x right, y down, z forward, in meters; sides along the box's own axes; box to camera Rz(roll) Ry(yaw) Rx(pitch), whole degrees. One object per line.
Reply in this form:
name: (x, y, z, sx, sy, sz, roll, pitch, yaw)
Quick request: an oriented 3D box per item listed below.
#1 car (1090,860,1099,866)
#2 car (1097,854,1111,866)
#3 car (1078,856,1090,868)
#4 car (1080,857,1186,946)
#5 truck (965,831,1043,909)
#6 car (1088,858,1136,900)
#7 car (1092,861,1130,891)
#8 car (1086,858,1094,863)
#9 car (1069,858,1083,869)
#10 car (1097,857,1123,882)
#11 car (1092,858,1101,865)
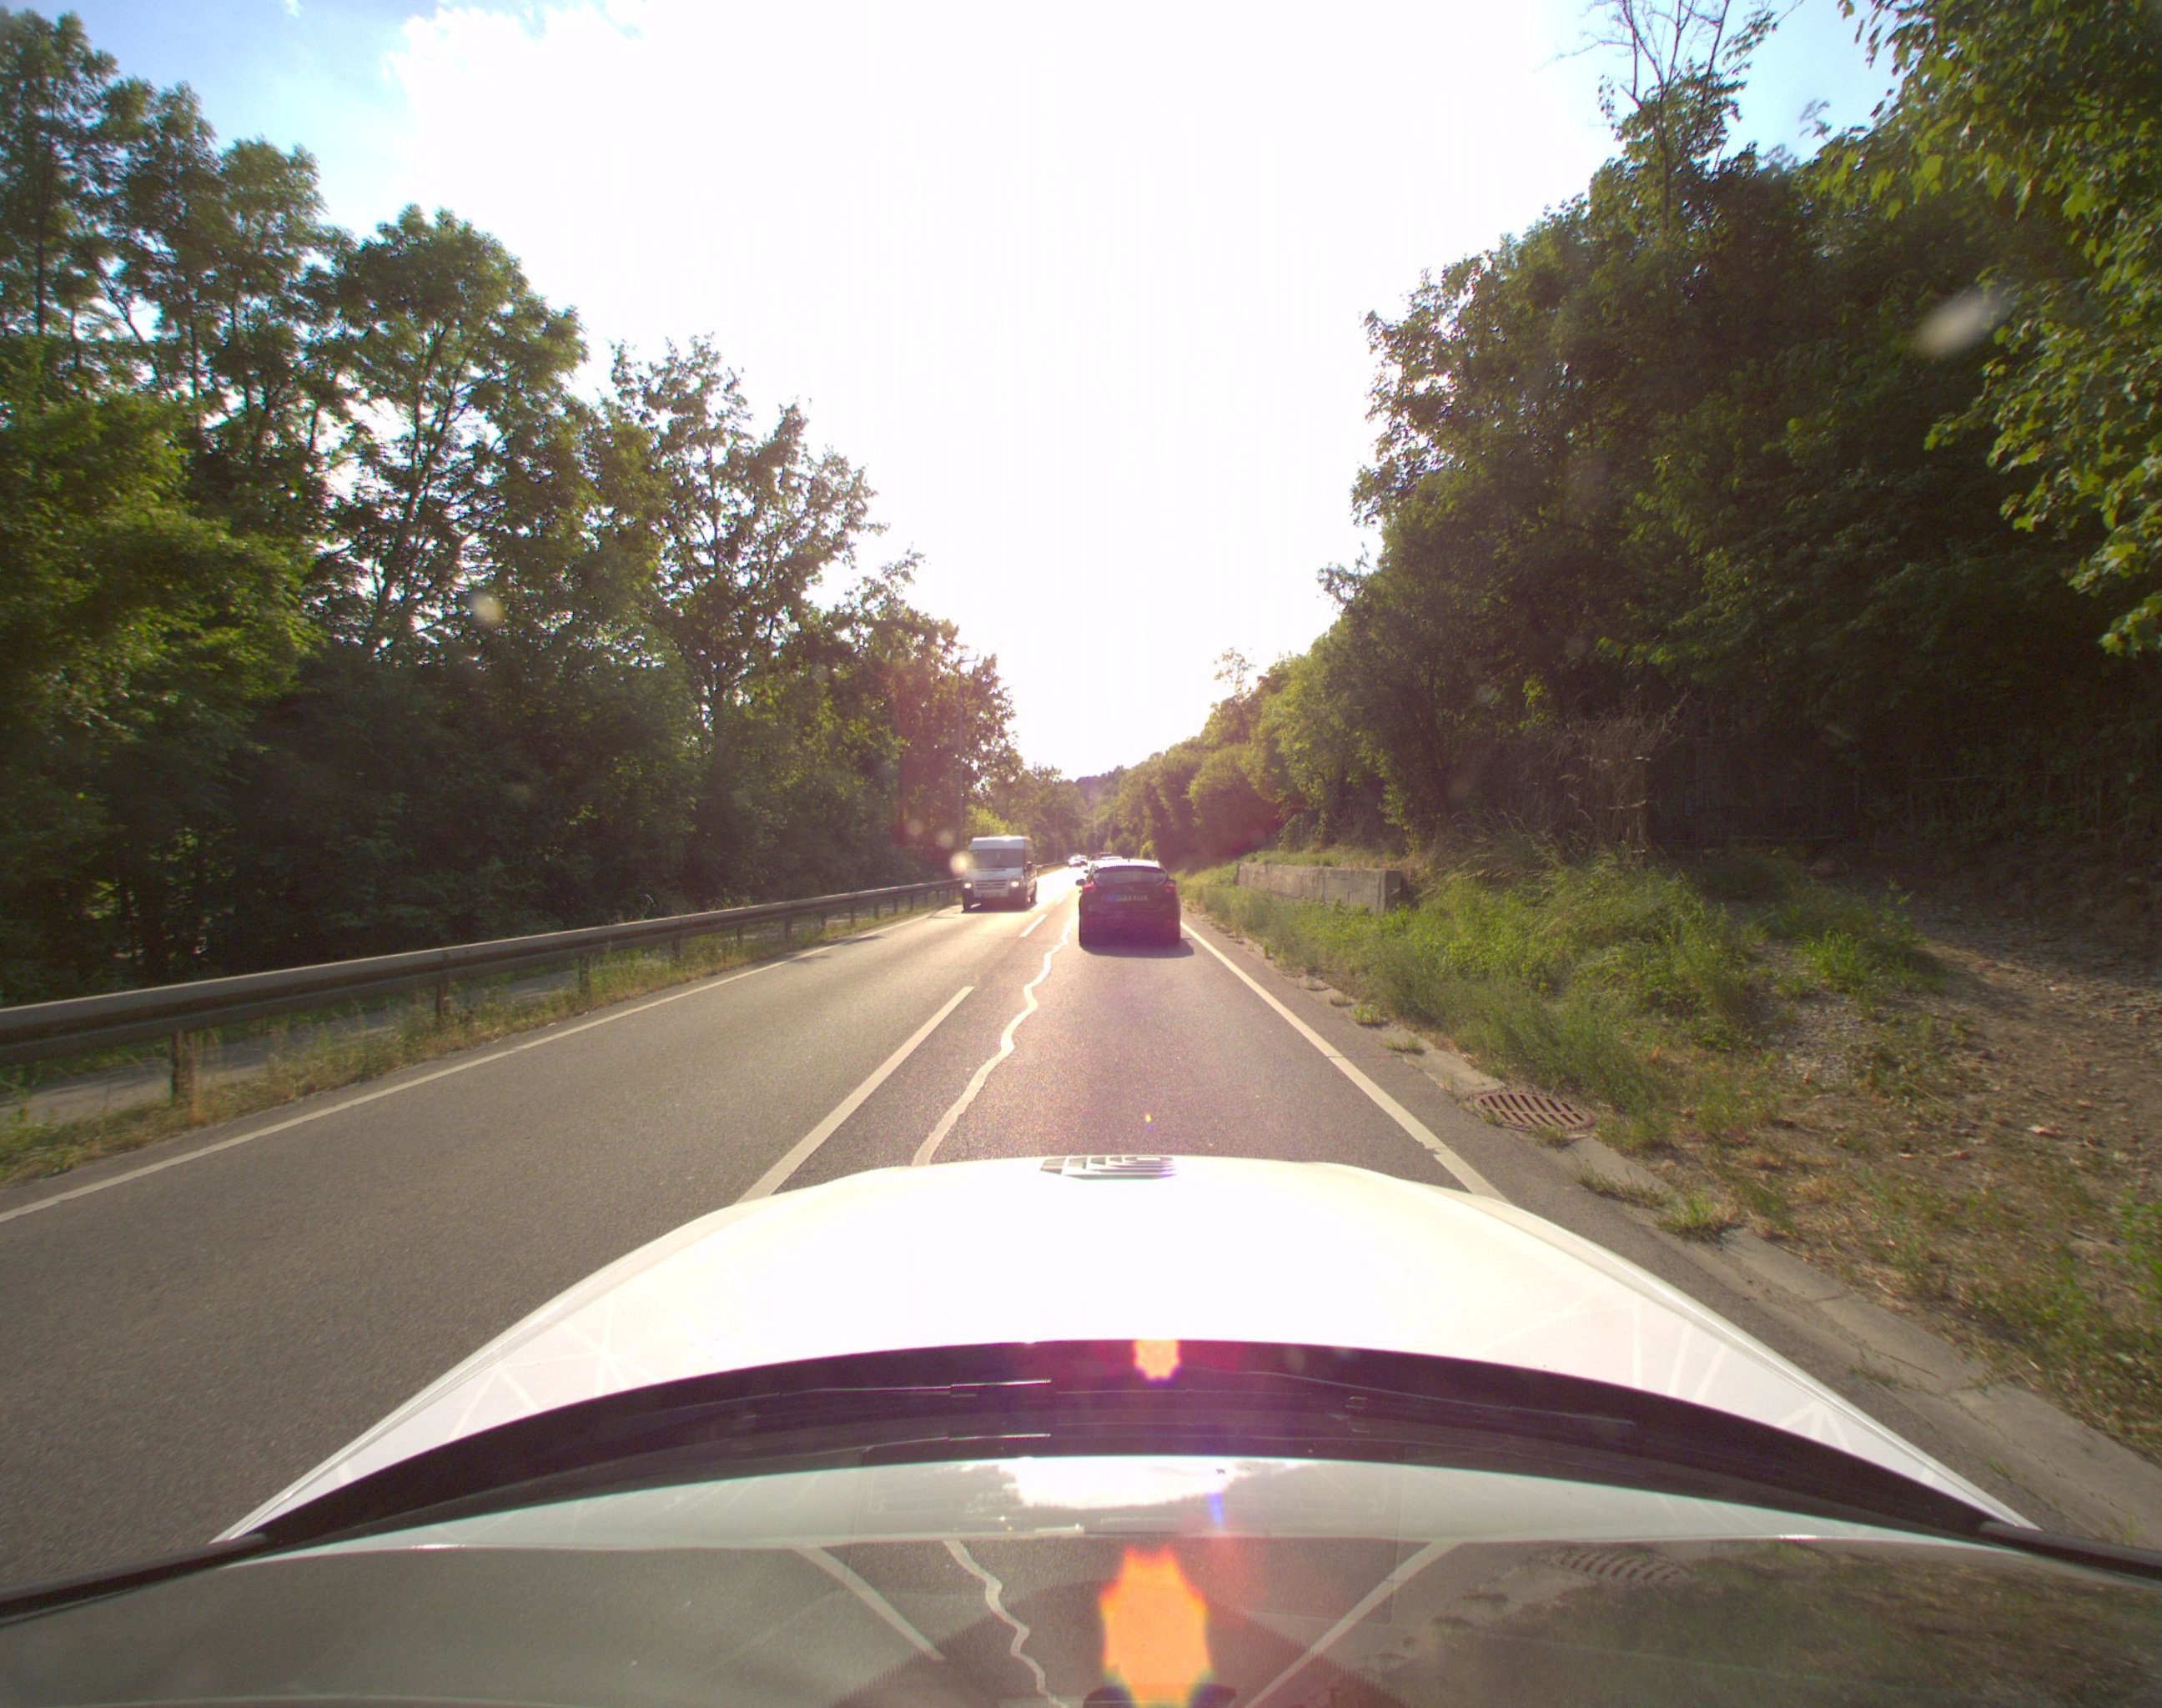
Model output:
car: (3.775, 2.541, 229.040, 1.991, 1.519, 3.992, -1, 0, -6)
car: (3.328, 0.868, 117.634, 1.856, 1.780, 4.002, -1, 0, 2)
car: (0.497, 1.200, 126.346, 1.741, 1.717, 4.223, -1, 0, 2)
car: (0.925, 0.796, 15.398, 1.733, 1.456, 4.001, 0, -1, 2)
truck: (-2.567, 0.511, 28.616, 2.051, 2.385, 5.873, -1, 0, 0)
car: (1.202, 0.889, 30.561, 1.654, 1.418, 4.003, -1, 0, 3)
car: (1.486, 1.056, 40.944, 1.798, 1.391, 4.001, -1, 0, 2)
car: (2.725, 1.977, 242.161, 1.991, 1.519, 3.992, -1, 0, -6)
car: (-0.658, 1.292, 111.292, 1.675, 1.442, 4.001, -2, 0, 1)
car: (1.913, 0.993, 54.550, 1.624, 1.596, 4.001, -1, 0, 2)
car: (3.904, 1.933, 207.671, 1.991, 1.519, 3.992, -1, 0, -6)
